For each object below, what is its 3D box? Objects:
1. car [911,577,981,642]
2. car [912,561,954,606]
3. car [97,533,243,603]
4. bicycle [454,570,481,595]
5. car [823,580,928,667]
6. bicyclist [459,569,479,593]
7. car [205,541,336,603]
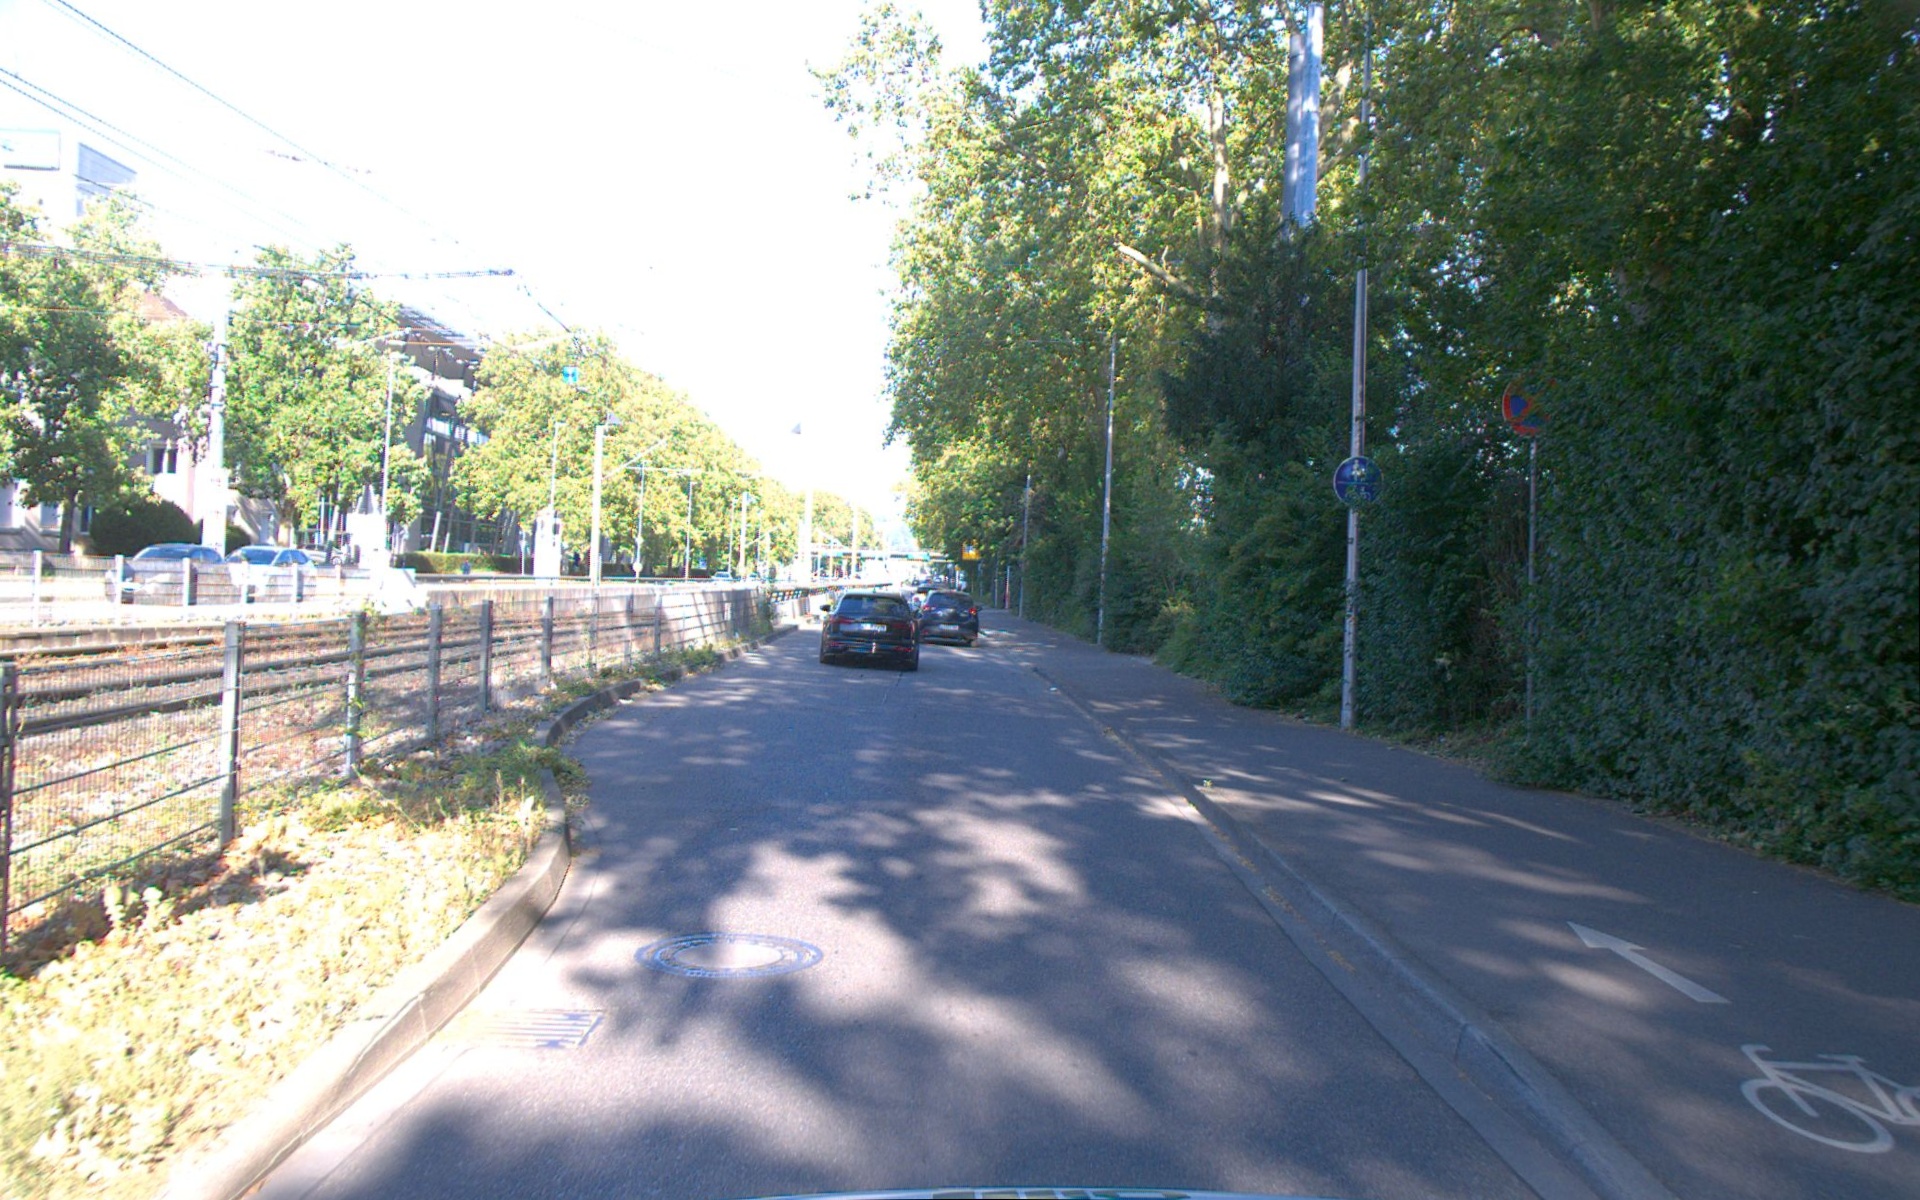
[{"bbox_3d":[-0.435,0.230,46.344,1.728,1.647,3.998,2,1,-3],"label":"car"},{"bbox_3d":[-1.309,-0.815,81.388,1.953,2.048,4.000,2,1,-1],"label":"car"},{"bbox_3d":[-19.643,-0.772,41.309,1.704,1.574,3.999,3,0,-1],"label":"car"},{"bbox_3d":[-31.531,-1.119,105.966,0.911,1.512,3.176,2,1,-3],"label":"bicycle"},{"bbox_3d":[-1.623,0.408,31.675,1.841,1.482,3.355,3,1,-3],"label":"car"},{"bbox_3d":[-31.420,-1.209,105.812,0.911,1.512,1.272,2,1,-3],"label":"bicyclist"},{"bbox_3d":[-19.315,-0.772,46.520,1.953,1.556,3.999,3,0,-1],"label":"car"}]
